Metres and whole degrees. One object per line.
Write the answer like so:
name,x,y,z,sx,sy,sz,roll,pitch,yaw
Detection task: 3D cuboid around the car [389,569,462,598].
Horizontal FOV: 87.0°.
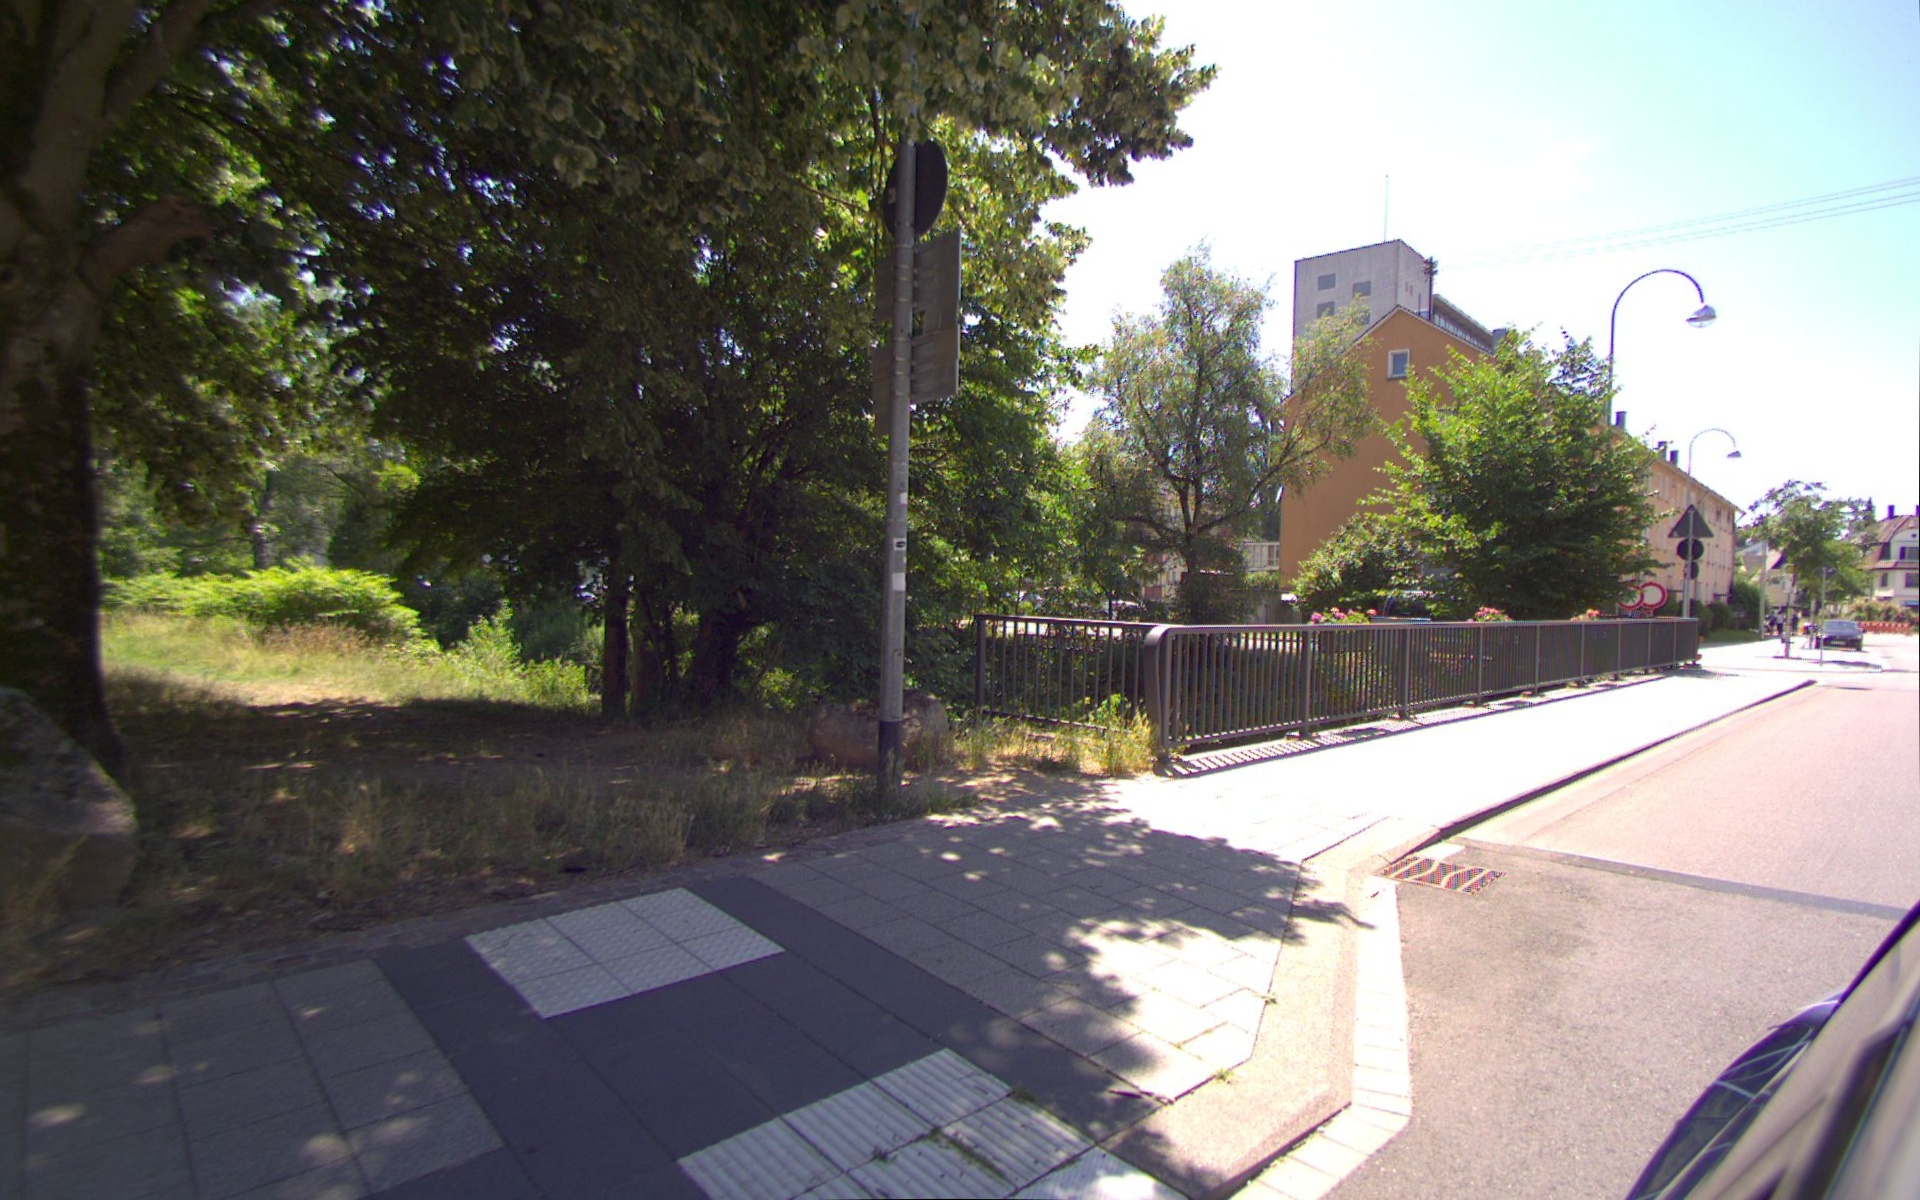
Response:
car,-31.010,-0.926,58.690,4.484,1.599,1.939,1,0,36

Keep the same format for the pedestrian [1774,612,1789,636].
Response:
pedestrian,62.529,1.812,77.025,0.792,1.801,0.994,3,1,39

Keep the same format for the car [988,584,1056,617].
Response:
car,2.997,0.017,48.293,1.608,1.438,3.875,2,1,32

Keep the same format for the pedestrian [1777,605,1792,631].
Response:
pedestrian,62.635,1.361,76.892,0.787,1.833,0.992,5,3,39

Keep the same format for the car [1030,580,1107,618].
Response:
car,5.040,-0.052,46.754,1.985,1.650,3.954,2,1,32

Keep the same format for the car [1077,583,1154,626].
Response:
car,7.060,0.194,45.617,1.985,1.805,3.954,2,1,32

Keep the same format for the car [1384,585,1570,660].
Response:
car,13.988,0.542,27.469,4.324,1.862,1.728,1,0,36

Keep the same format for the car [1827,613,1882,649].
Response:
car,44.109,1.496,49.877,1.834,1.522,4.985,5,3,42

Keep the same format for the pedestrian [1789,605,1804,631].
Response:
pedestrian,61.097,1.332,73.916,0.819,1.877,0.970,2,0,39

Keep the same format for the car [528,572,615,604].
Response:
car,-19.594,-0.589,50.965,4.484,1.520,1.974,1,0,36

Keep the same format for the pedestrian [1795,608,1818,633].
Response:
pedestrian,63.467,1.509,75.870,1.169,1.753,1.175,6,3,38
